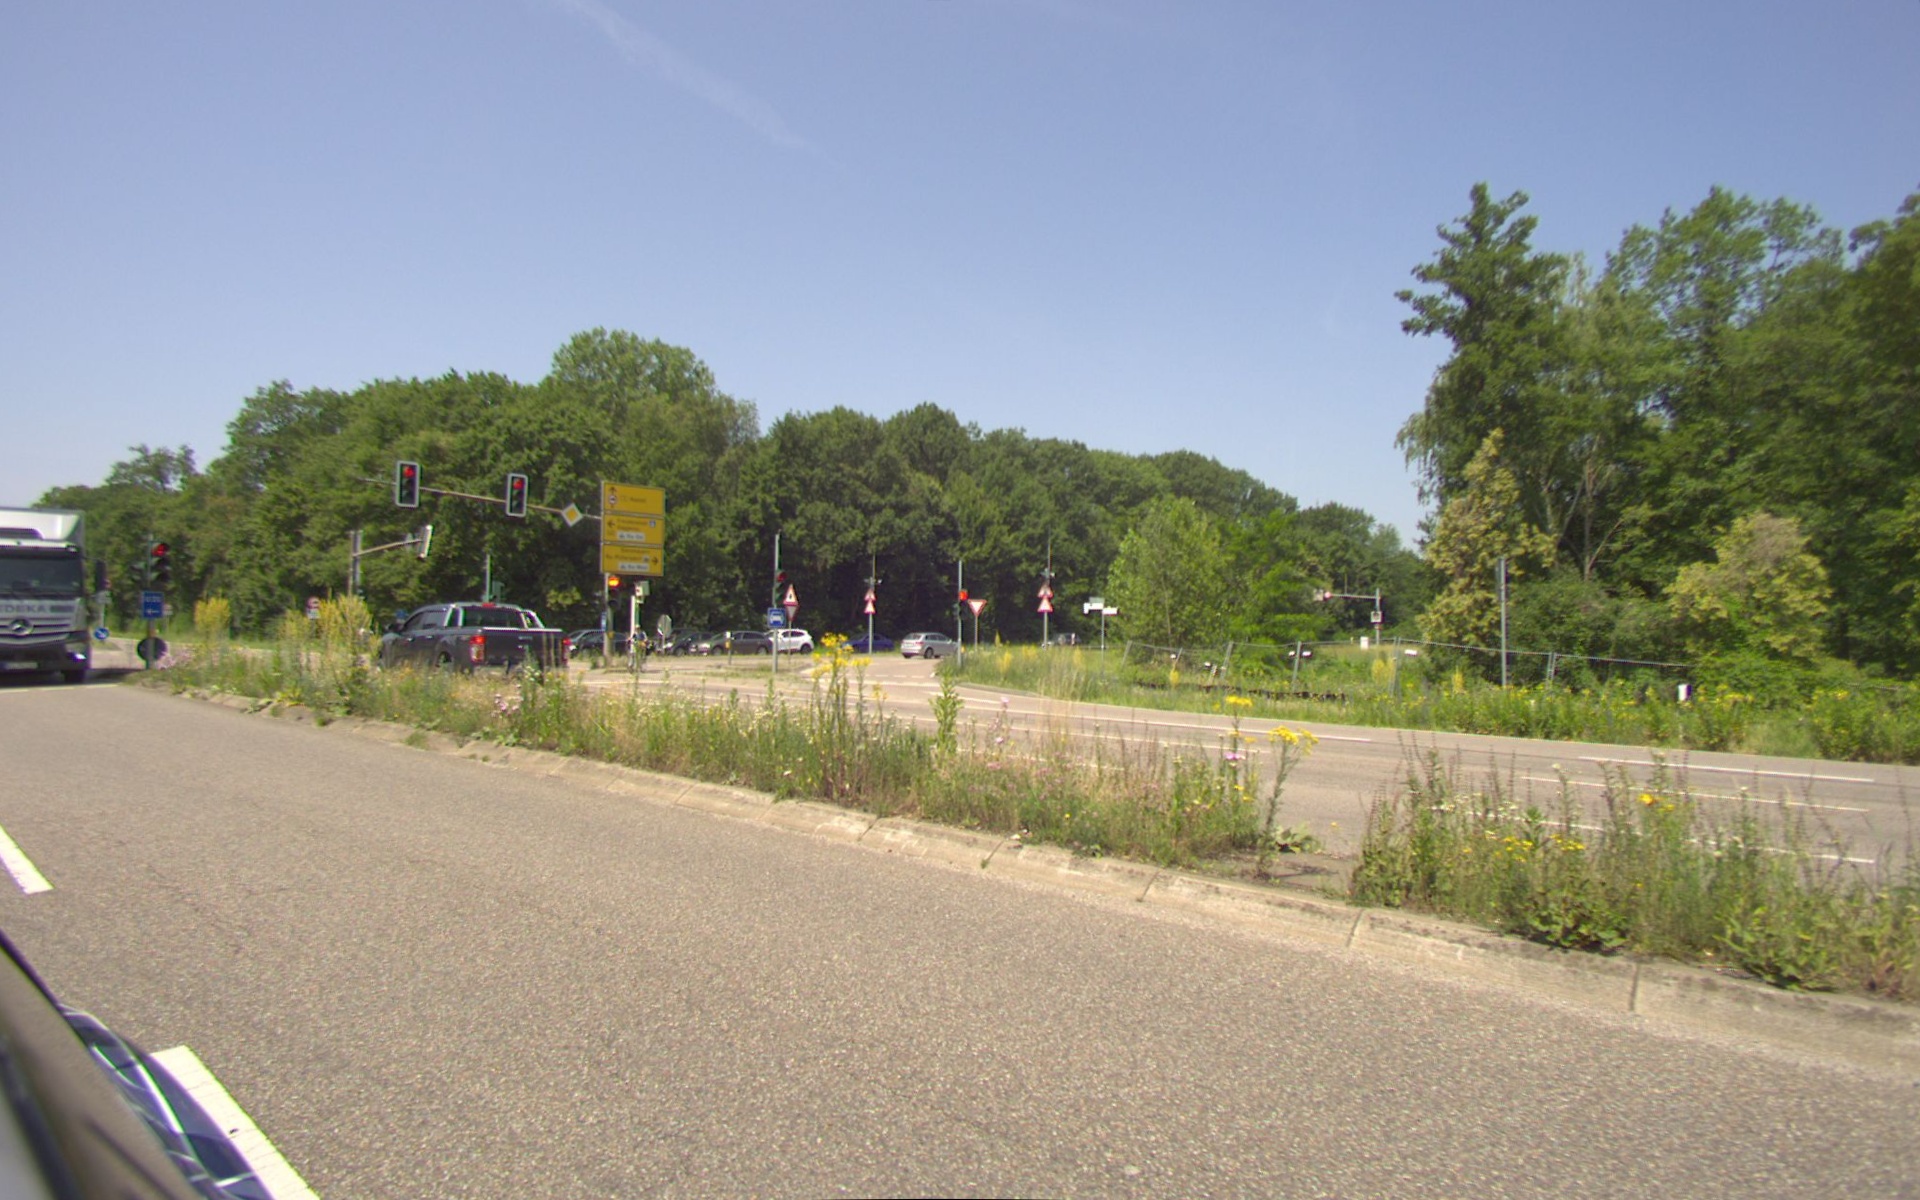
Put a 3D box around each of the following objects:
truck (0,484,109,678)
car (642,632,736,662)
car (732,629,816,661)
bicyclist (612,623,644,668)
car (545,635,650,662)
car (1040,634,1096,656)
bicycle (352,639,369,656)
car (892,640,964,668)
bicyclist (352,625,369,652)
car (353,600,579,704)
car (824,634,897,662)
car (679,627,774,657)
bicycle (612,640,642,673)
[{"bbox_3d":[-23.414,-0.312,24.388,11.314,3.914,2.718,-1,-1,41],"label":"truck"},{"bbox_3d":[-15.239,2.660,57.073,4.749,1.648,2.001,3,-3,-45],"label":"car"},{"bbox_3d":[-11.275,2.750,61.691,2.066,1.910,4.752,-1,-3,42],"label":"car"},{"bbox_3d":[-11.232,1.534,34.247,0.911,1.471,0.718,1,-2,-10],"label":"bicyclist"},{"bbox_3d":[-18.890,2.532,52.890,2.105,1.300,4.753,-1,-3,42],"label":"car"},{"bbox_3d":[8.806,3.675,82.462,4.749,1.648,2.001,3,-4,-45],"label":"car"},{"bbox_3d":[-32.983,2.617,55.691,0.558,0.930,1.608,3,-3,-38],"label":"bicycle"},{"bbox_3d":[-1.743,2.960,56.239,1.769,1.402,3.961,-1,-1,40],"label":"car"},{"bbox_3d":[-32.995,2.101,55.740,0.651,1.476,0.811,3,-3,-39],"label":"bicyclist"},{"bbox_3d":[-9.401,0.942,19.025,5.365,1.691,1.972,-1,-4,43],"label":"car"},{"bbox_3d":[-6.543,3.161,66.907,1.999,1.770,4.756,-1,-3,40],"label":"car"},{"bbox_3d":[-12.438,2.262,54.167,1.860,1.530,4.756,-1,-3,40],"label":"car"},{"bbox_3d":[-11.236,1.890,34.225,0.712,1.071,1.873,1,-2,-11],"label":"bicycle"}]
